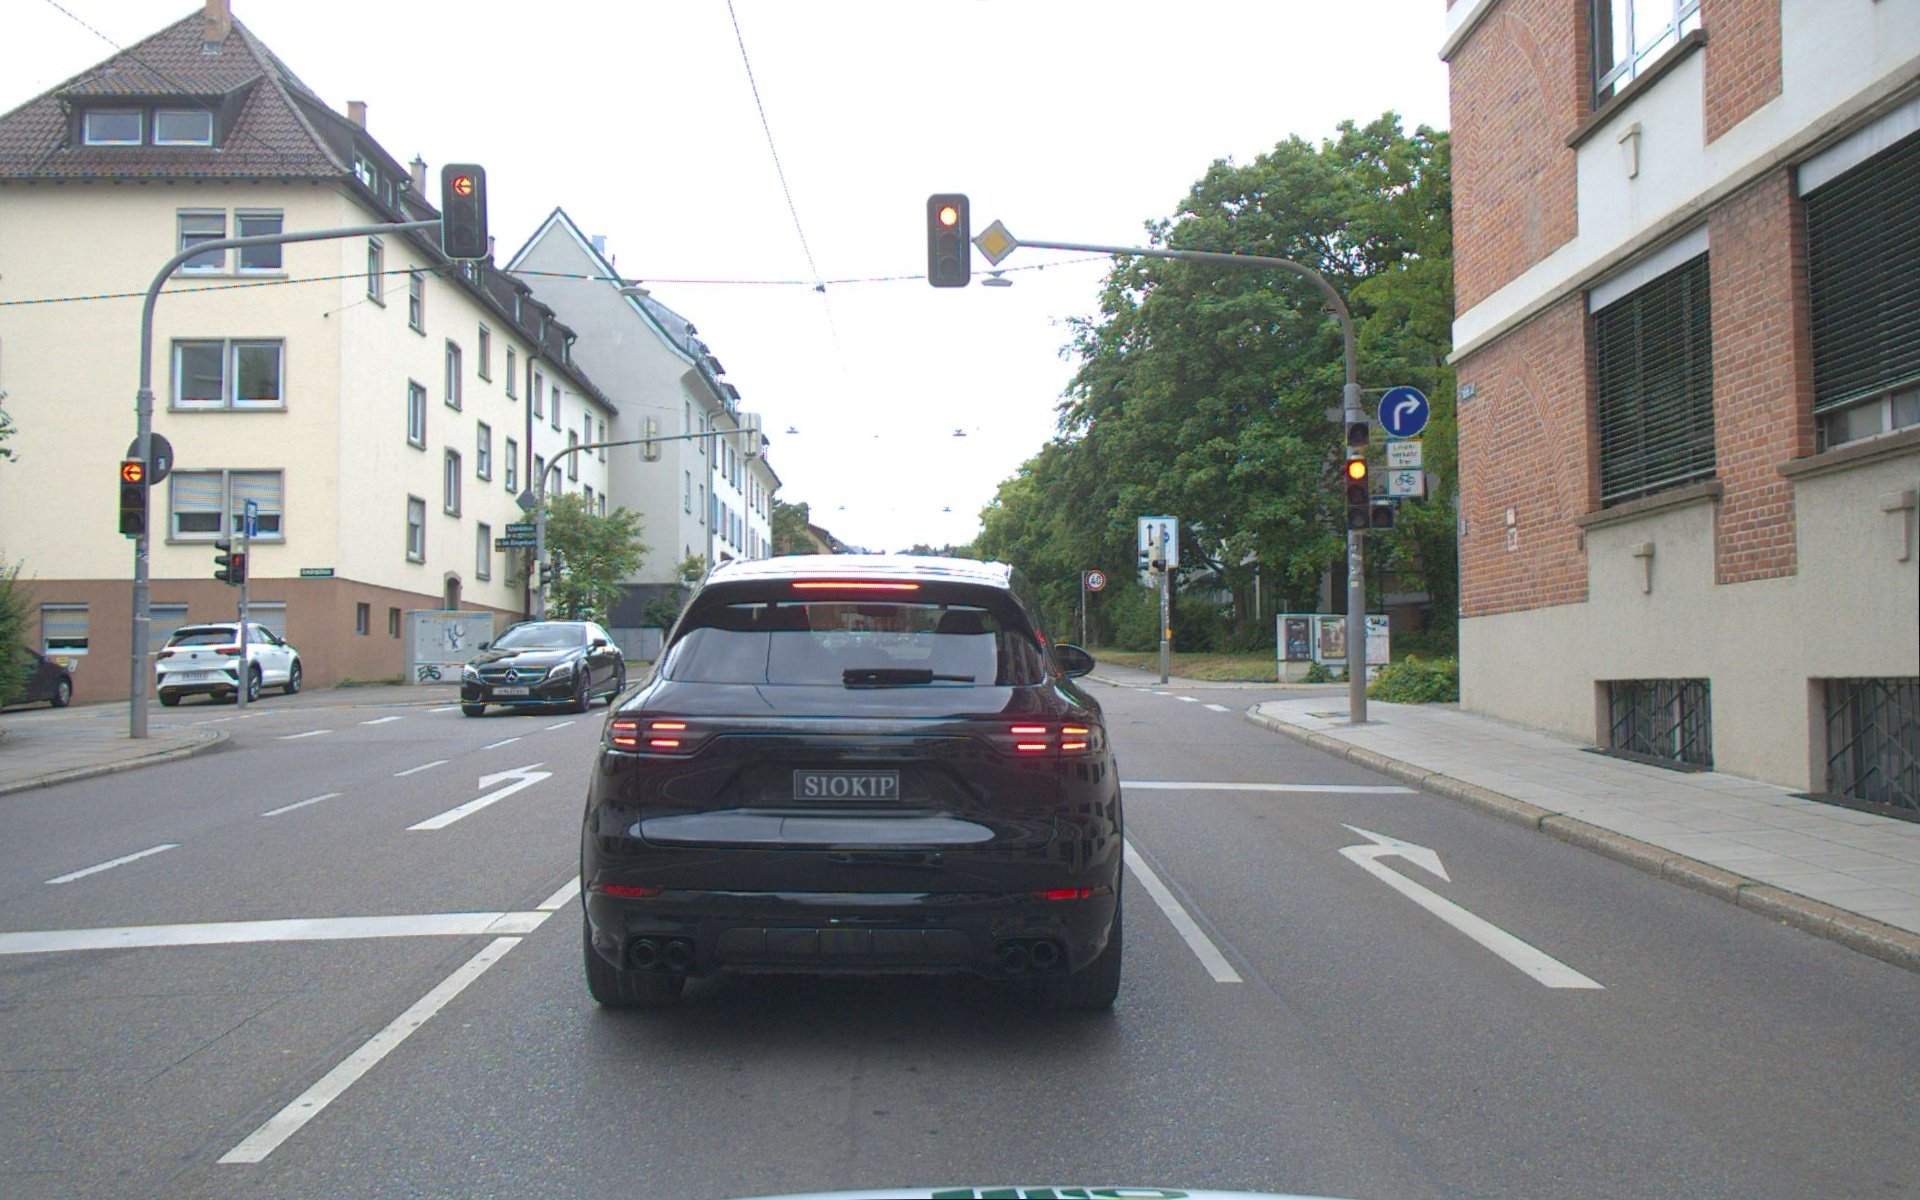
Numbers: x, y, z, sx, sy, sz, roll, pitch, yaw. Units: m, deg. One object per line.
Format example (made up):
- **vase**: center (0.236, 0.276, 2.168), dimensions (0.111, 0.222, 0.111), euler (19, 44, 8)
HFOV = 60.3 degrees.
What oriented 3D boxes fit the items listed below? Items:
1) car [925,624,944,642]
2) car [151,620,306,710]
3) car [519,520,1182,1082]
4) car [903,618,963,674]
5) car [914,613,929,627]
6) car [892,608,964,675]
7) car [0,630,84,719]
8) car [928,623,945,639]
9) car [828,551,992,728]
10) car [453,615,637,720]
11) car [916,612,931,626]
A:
- **car**: center (-2.526, 3.264, 162.025), dimensions (1.790, 1.633, 4.134), euler (1, 0, -1)
- **car**: center (-14.721, 1.268, 33.509), dimensions (1.658, 1.582, 3.762), euler (-3, 0, -5)
- **car**: center (-0.353, 0.615, 7.224), dimensions (2.007, 1.695, 4.266), euler (1, 0, -1)
- **car**: center (-0.843, 1.418, 52.518), dimensions (1.790, 1.633, 3.858), euler (1, 0, -1)
- **car**: center (-4.732, 2.447, 202.848), dimensions (1.790, 1.633, 4.134), euler (1, 0, -1)
- **car**: center (-0.837, 1.064, 43.806), dimensions (1.790, 1.633, 4.134), euler (1, 0, -1)
- **car**: center (-19.626, 1.516, 33.769), dimensions (1.658, 1.636, 3.762), euler (-3, 0, -5)
- **car**: center (-2.611, 3.424, 182.405), dimensions (1.790, 1.633, 4.134), euler (1, 0, -1)
- **car**: center (-0.615, 0.467, 21.894), dimensions (1.925, 2.078, 4.134), euler (1, 0, -1)
- **car**: center (-6.489, 1.003, 26.395), dimensions (1.749, 1.443, 4.669), euler (-2, -1, -1)
- **car**: center (-4.660, 2.397, 210.176), dimensions (1.790, 1.633, 4.134), euler (1, 0, -1)
